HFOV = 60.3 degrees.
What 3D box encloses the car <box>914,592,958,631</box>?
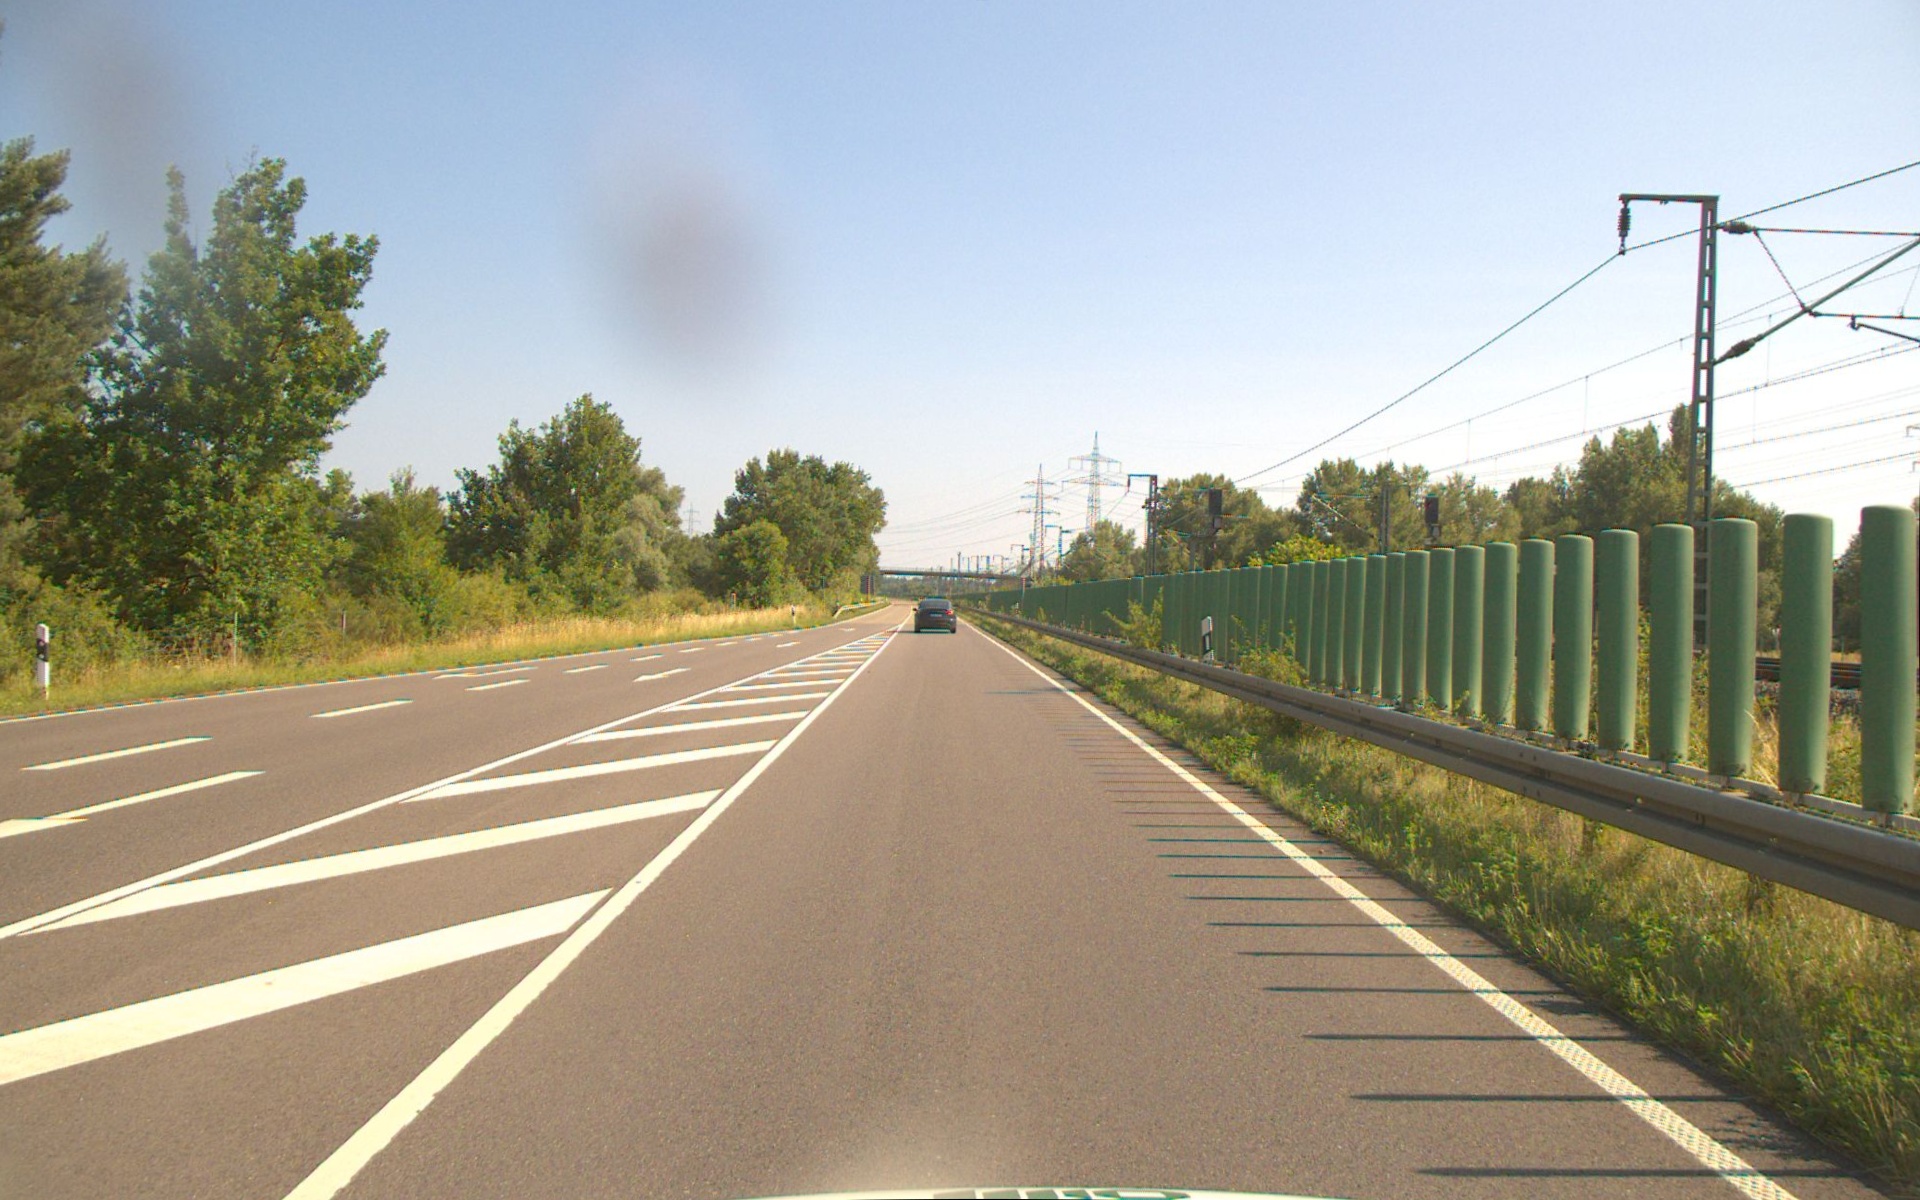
[{"bbox_3d":[-1.029,0.483,72.323,1.821,1.670,4.000,-1,0,0],"label":"car"}]
